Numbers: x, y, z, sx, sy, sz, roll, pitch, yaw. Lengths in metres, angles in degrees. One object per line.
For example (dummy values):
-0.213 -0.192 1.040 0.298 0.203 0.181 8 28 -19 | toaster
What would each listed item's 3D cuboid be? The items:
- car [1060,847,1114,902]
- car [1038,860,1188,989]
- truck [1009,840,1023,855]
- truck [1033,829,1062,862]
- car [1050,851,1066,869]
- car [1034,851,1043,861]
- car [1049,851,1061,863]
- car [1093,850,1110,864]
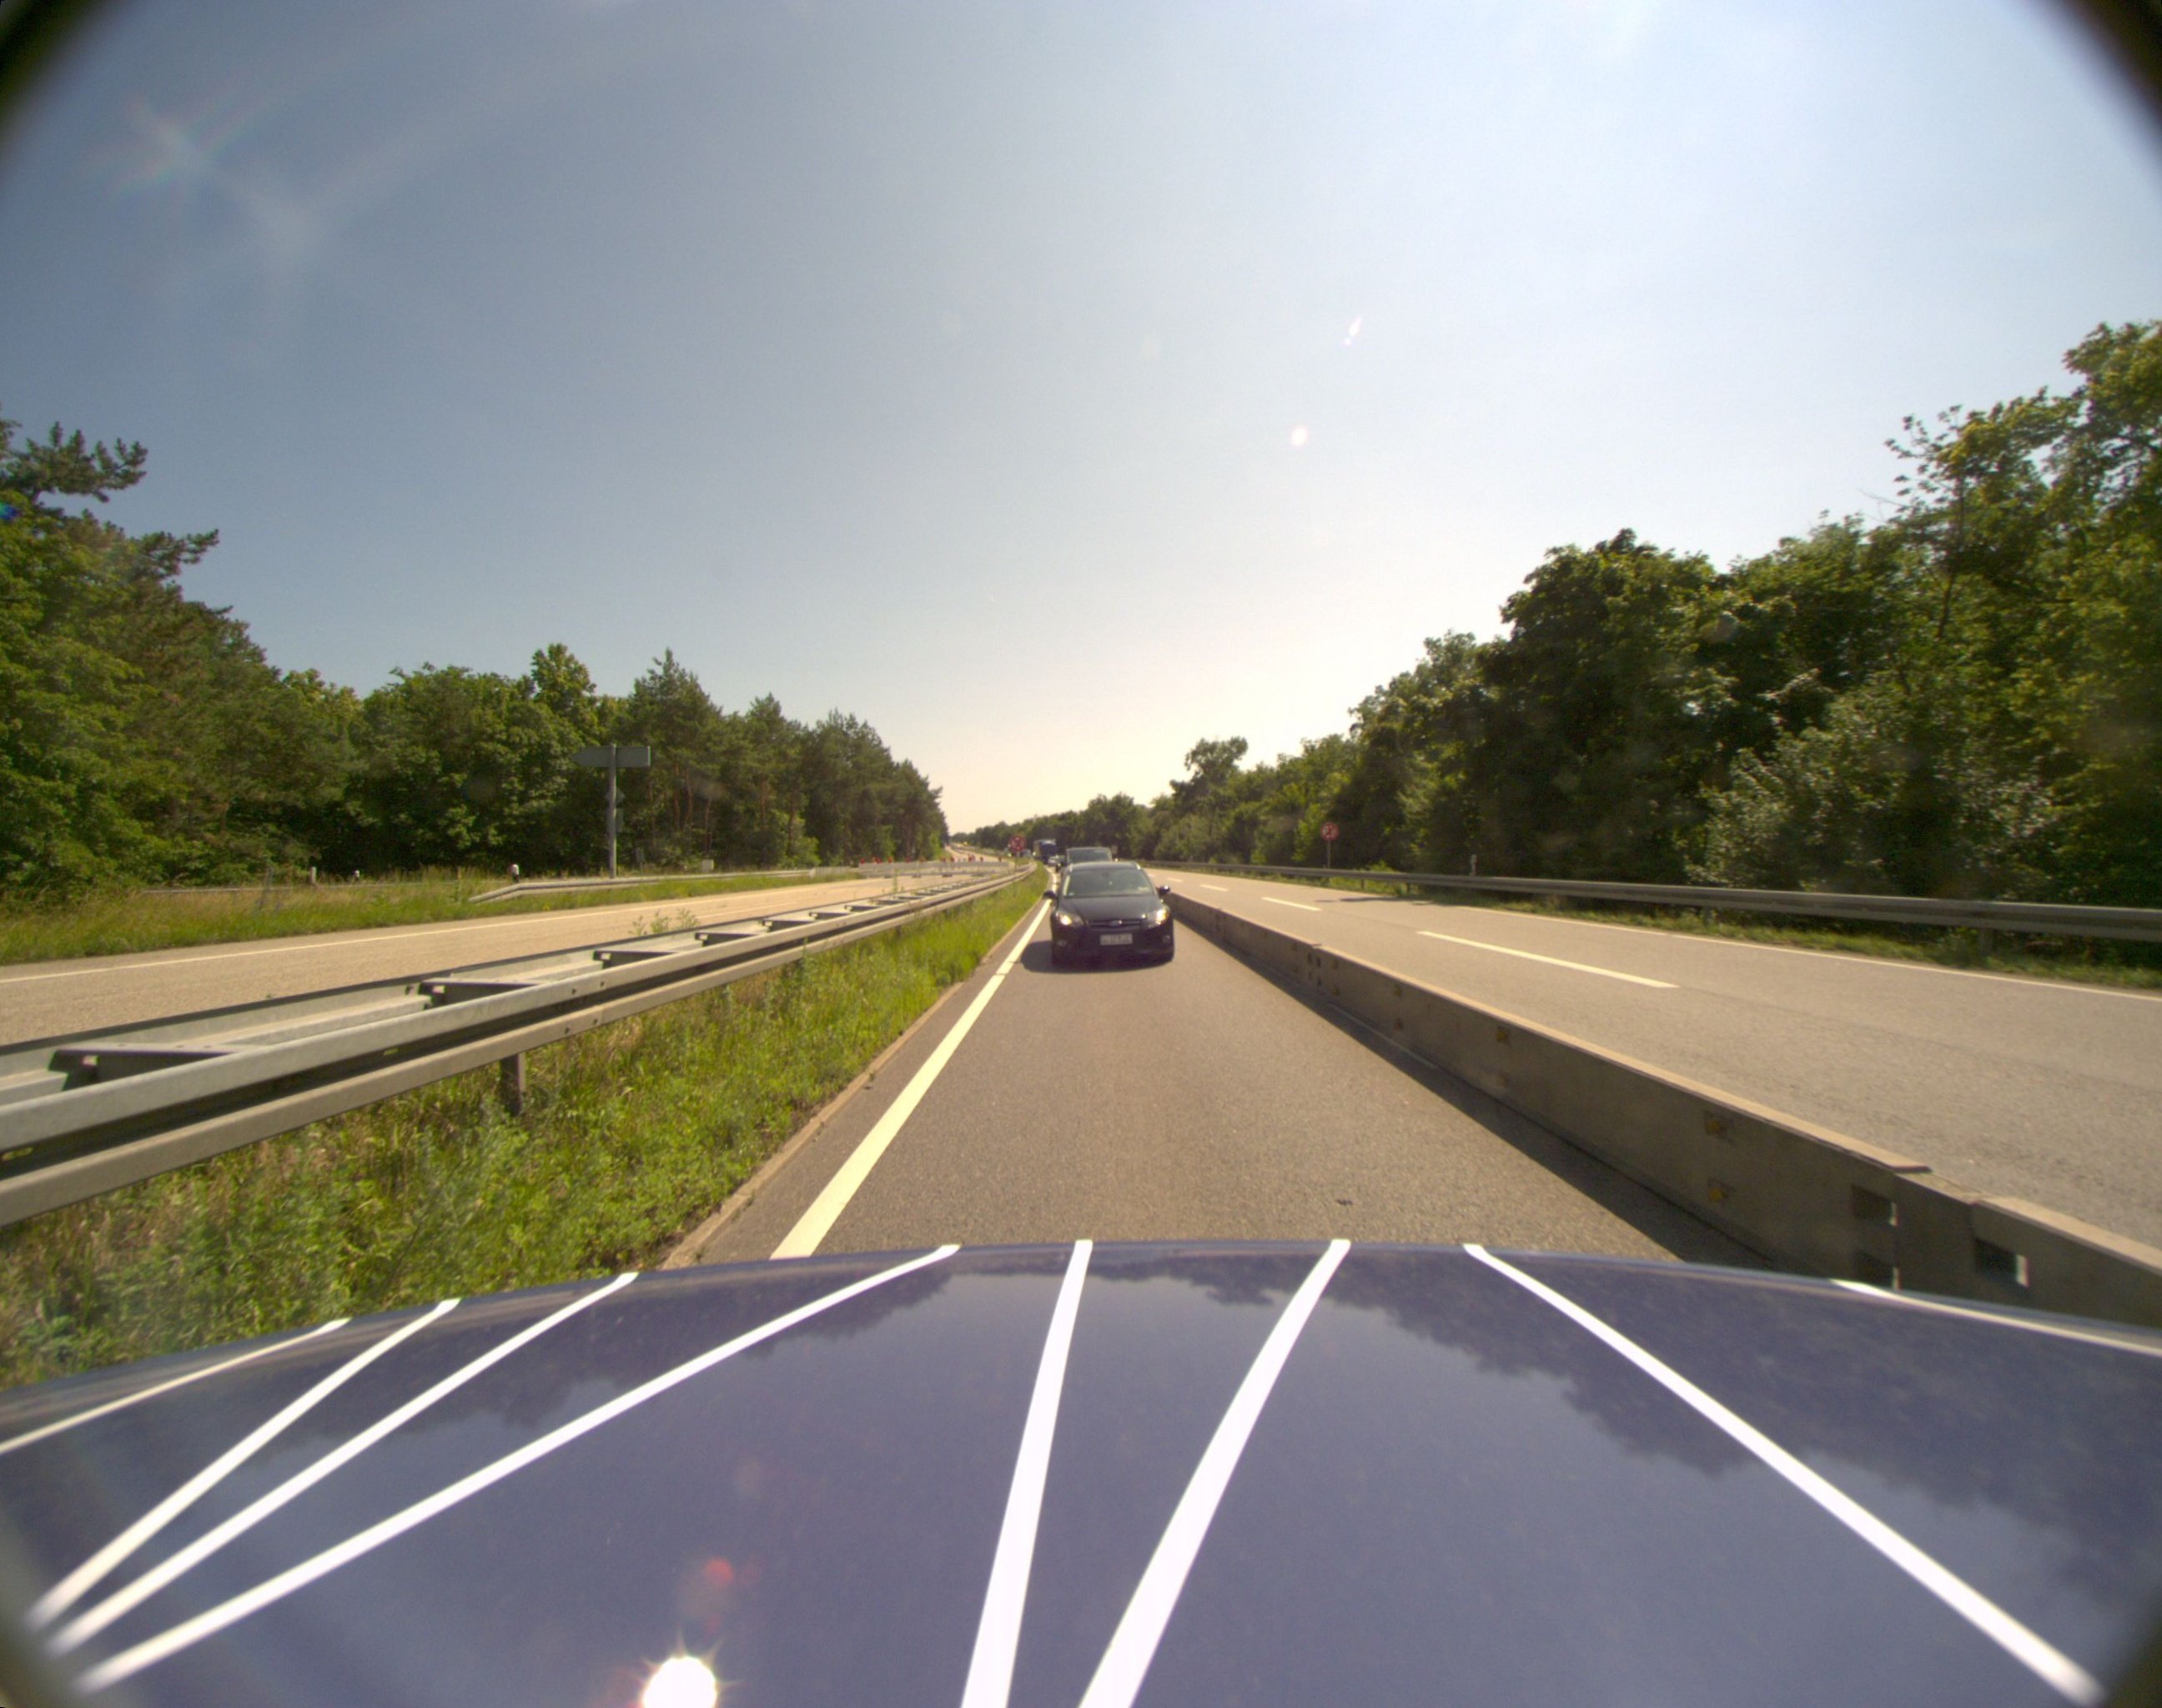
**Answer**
0.224 0.756 31.018 1.959 1.902 4.934 -2 2 0 | car
0.438 0.908 12.070 1.846 1.537 4.935 -2 0 1 | car
-19.081 -1.923 222.510 3.831 4.265 11.240 -1 0 -5 | truck
-5.691 -1.324 127.684 3.831 5.266 11.238 -1 0 -7 | truck
-2.282 0.596 74.383 1.527 1.647 3.979 -2 0 -2 | car
-8.490 0.399 150.810 1.527 1.648 3.977 -5 3 -5 | car
-3.700 0.363 107.678 1.528 1.647 3.752 0 0 -5 | car
2.404 0.349 90.552 1.953 1.569 4.435 -1 0 1 | car
